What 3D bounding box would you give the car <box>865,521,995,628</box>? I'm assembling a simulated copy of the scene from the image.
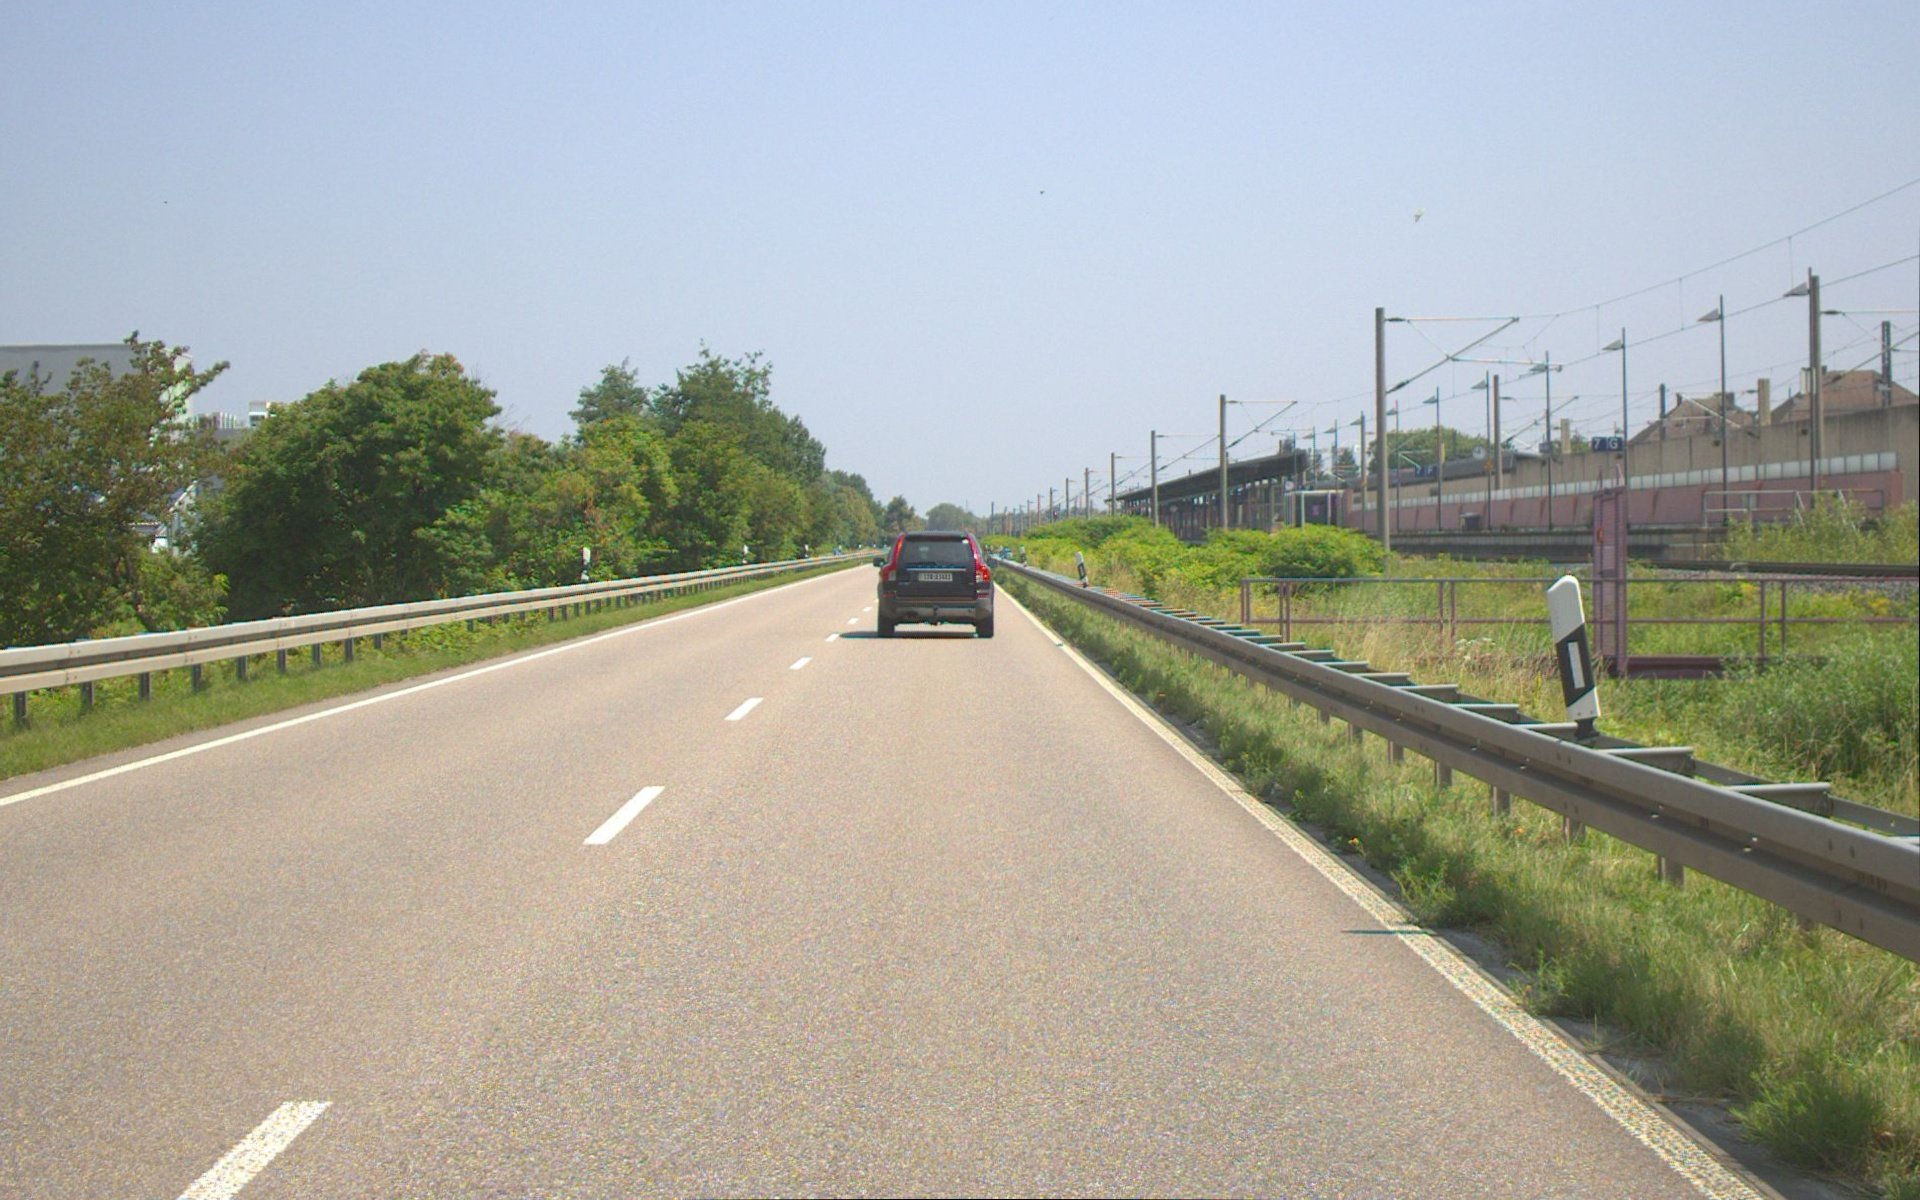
[{"bbox_3d":[-0.528,-0.435,56.346,1.993,1.694,4.001,0,1,-2],"label":"car"}]
